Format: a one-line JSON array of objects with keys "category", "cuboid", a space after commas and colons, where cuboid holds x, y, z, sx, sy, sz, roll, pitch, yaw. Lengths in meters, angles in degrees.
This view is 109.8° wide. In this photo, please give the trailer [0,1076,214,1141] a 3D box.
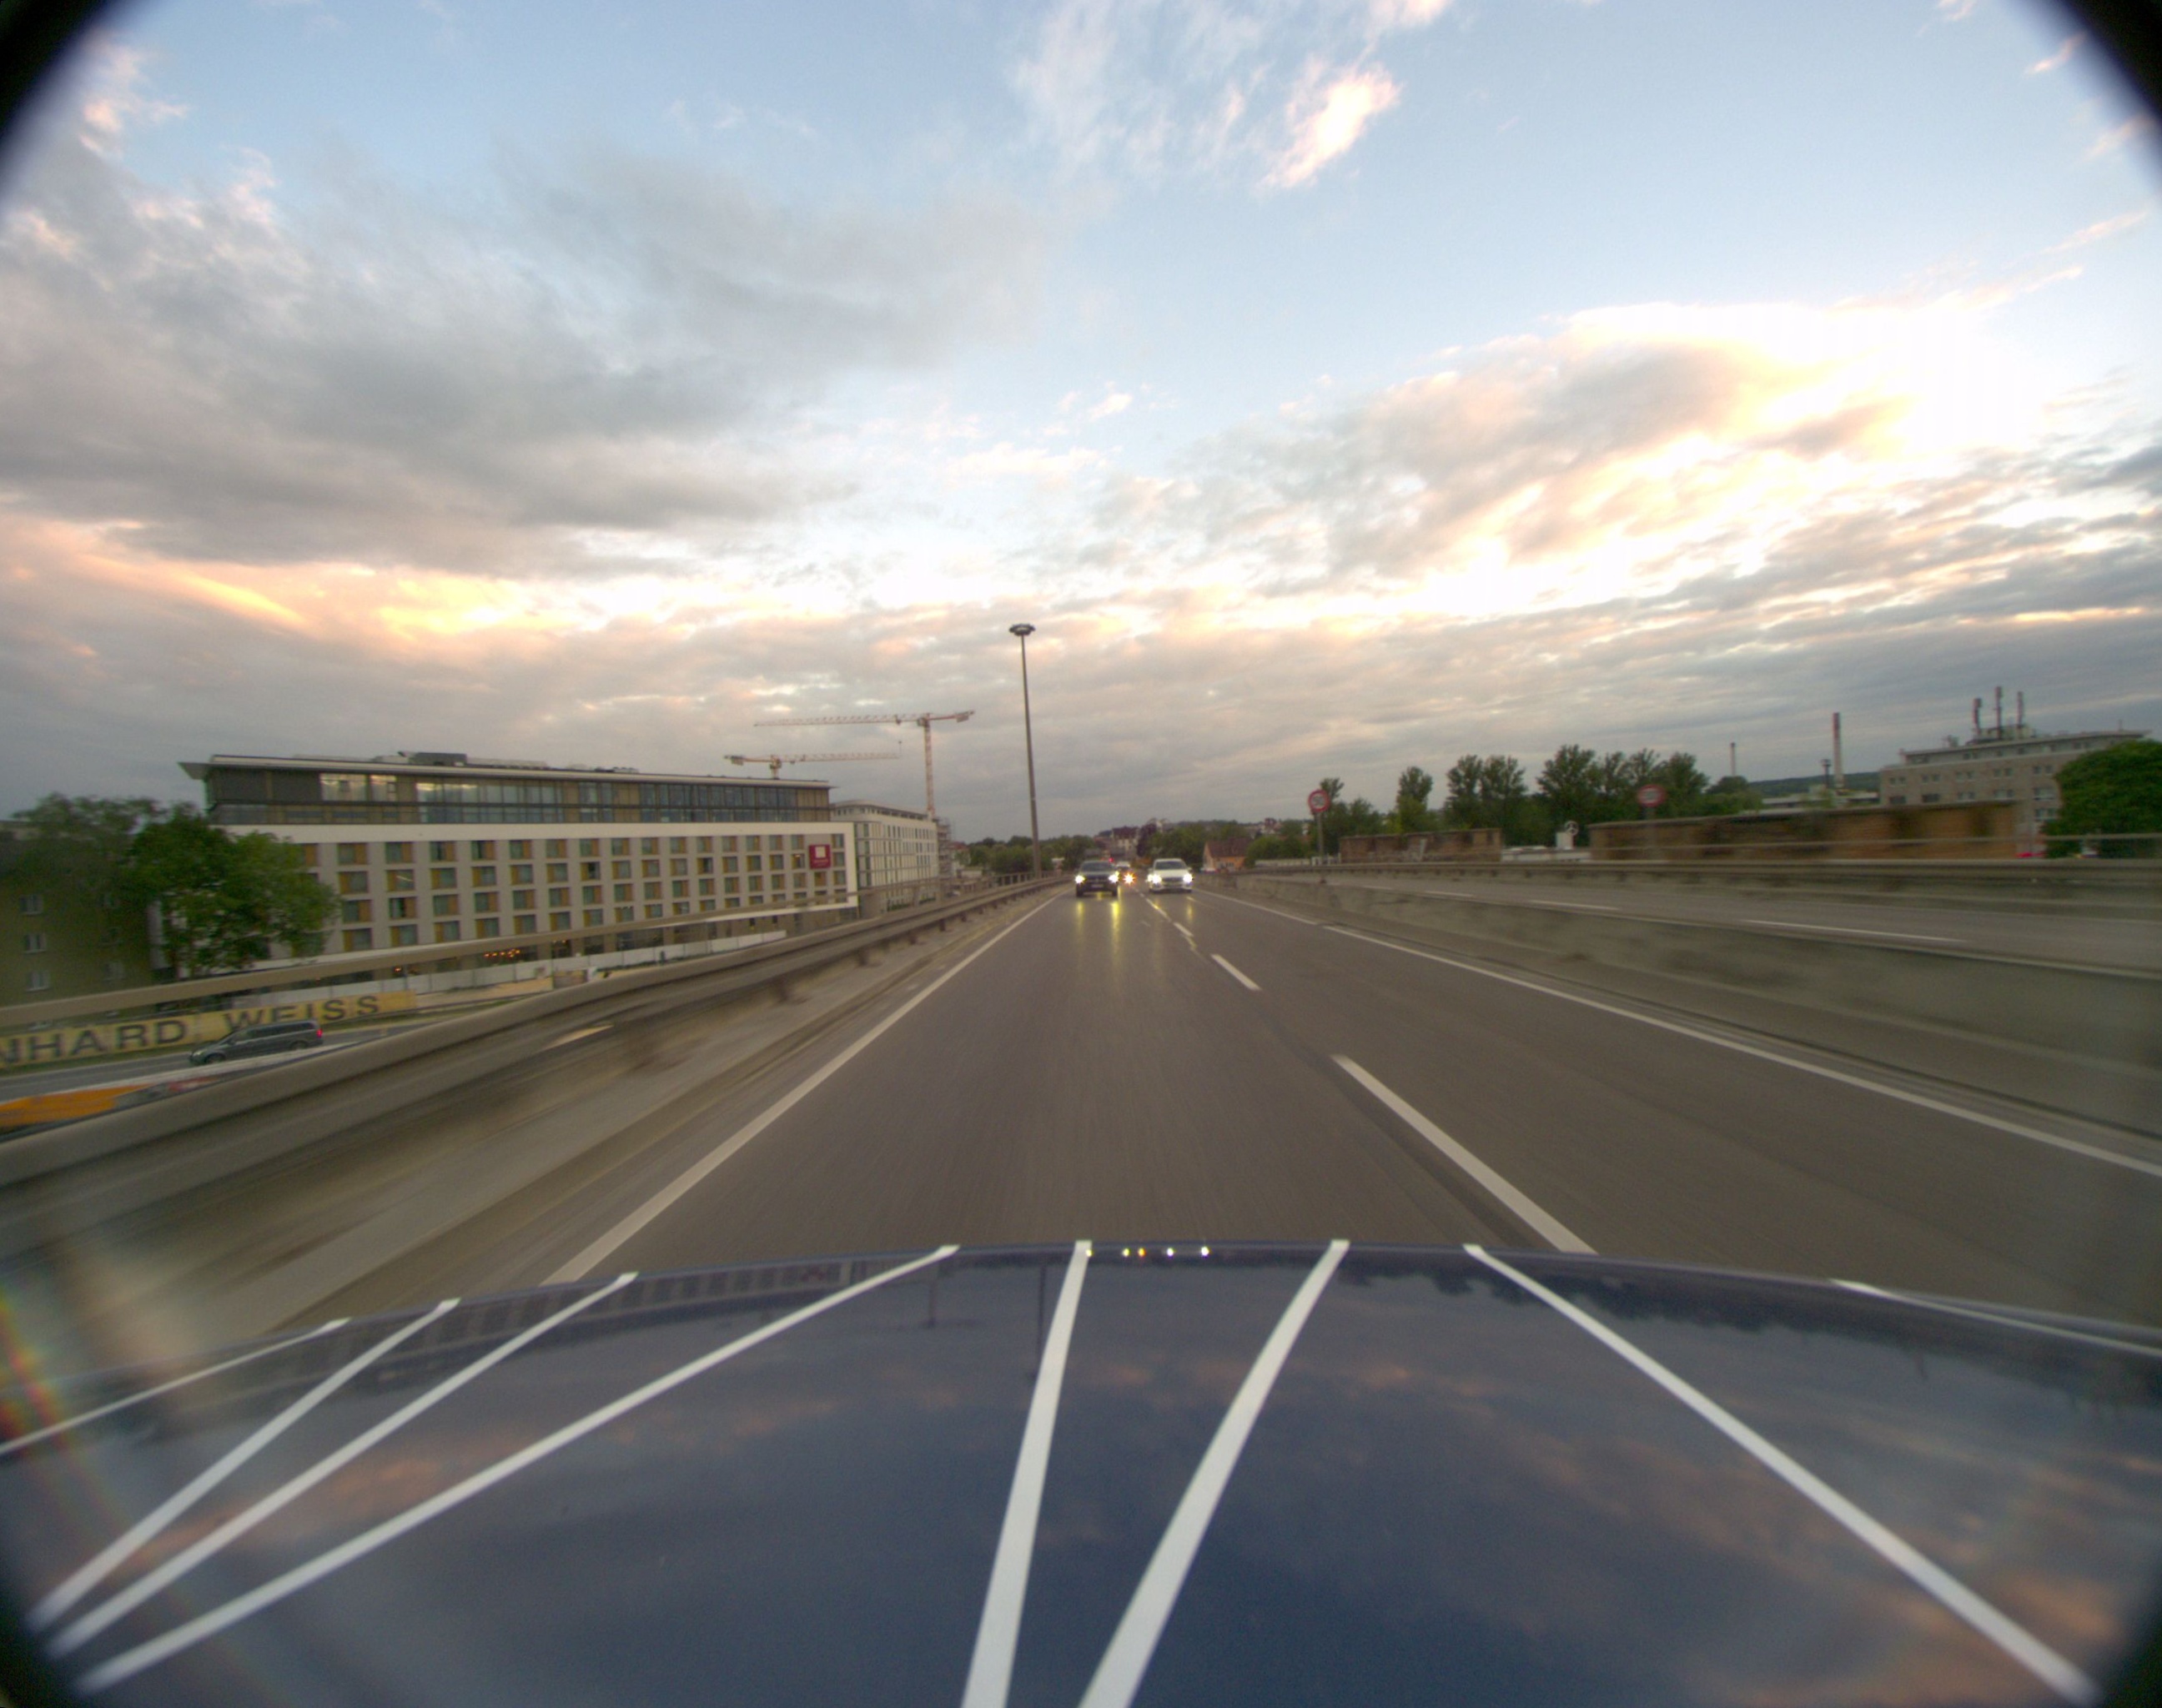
[{"category": "trailer", "cuboid": [-41.287, 10.696, 32.087, 5.877, 1.340, 2.024, -2, 1, -18]}]

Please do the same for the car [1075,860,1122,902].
[{"category": "car", "cuboid": [0.773, 1.104, 32.810, 1.823, 1.602, 4.213, -4, 0, 2]}]

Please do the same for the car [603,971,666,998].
[{"category": "car", "cuboid": [-36.425, 10.613, 62.019, 1.907, 1.433, 4.008, -2, 0, 42]}]

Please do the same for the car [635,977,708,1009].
[{"category": "car", "cuboid": [-30.743, 10.388, 57.123, 4.603, 1.609, 1.995, -1, 0, -36]}]

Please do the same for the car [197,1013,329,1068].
[{"category": "car", "cuboid": [-47.490, 10.784, 44.269, 1.994, 1.867, 5.102, -1, 1, 42]}]

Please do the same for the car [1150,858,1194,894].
[{"category": "car", "cuboid": [4.200, 0.994, 35.832, 1.694, 1.528, 4.785, -2, 0, 3]}]

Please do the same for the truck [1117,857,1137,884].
[{"category": "truck", "cuboid": [8.138, 2.768, 134.160, 3.165, 4.369, 8.795, -2, 1, 4]}]

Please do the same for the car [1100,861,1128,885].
[{"category": "car", "cuboid": [2.503, 1.396, 56.813, 1.890, 1.641, 4.346, -3, -1, 4]}]
